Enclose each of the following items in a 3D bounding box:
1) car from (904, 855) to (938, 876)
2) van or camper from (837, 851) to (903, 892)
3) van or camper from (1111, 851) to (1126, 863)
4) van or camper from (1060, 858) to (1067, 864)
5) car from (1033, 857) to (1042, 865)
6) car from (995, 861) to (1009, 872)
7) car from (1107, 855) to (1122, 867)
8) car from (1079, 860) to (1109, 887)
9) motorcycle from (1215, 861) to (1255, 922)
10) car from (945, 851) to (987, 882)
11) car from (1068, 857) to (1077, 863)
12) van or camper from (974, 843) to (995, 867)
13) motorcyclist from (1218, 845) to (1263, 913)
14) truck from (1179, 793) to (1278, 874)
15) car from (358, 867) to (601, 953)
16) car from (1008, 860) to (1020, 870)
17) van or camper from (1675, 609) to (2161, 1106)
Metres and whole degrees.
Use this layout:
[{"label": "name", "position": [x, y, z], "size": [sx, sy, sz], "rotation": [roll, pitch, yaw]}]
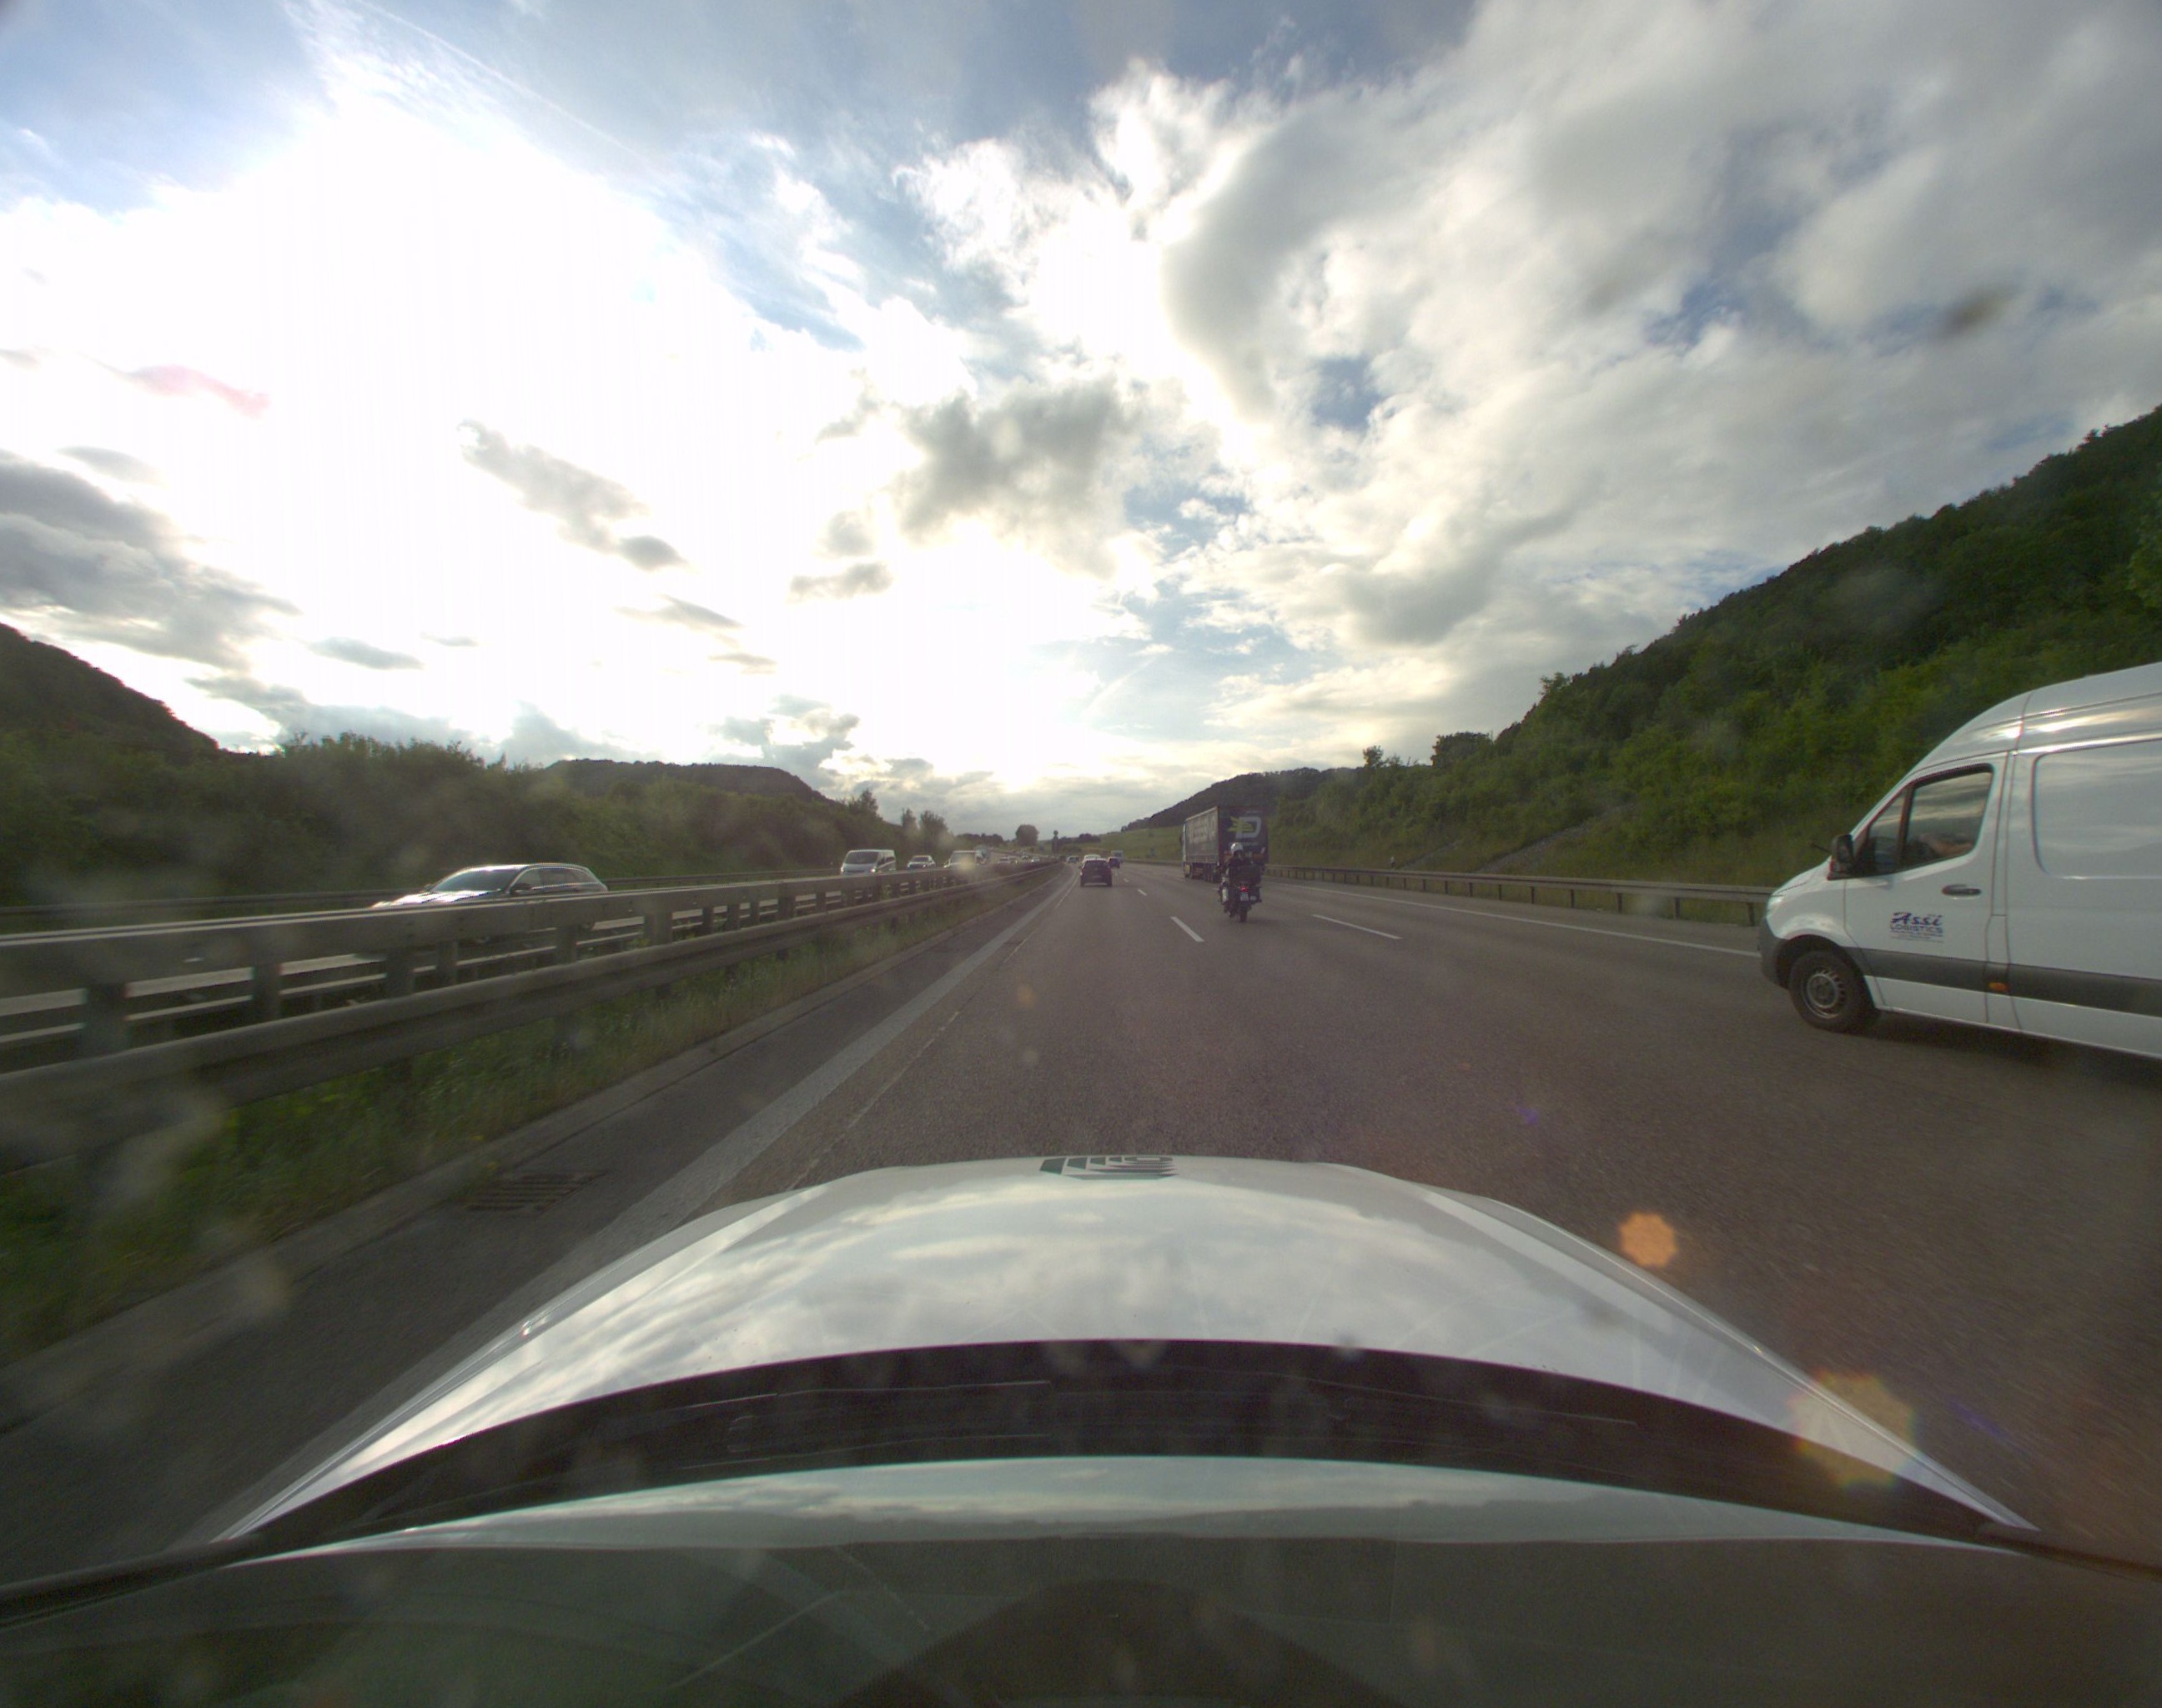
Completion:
[{"label": "car", "position": [-14.140, 0.971, 72.124], "size": [1.922, 1.722, 4.880], "rotation": [-1, 0, 1]}, {"label": "van or camper", "position": [-10.667, 0.828, 41.653], "size": [1.842, 1.940, 5.402], "rotation": [-1, 0, 1]}, {"label": "van or camper", "position": [7.148, 0.526, 155.875], "size": [2.539, 2.239, 5.330], "rotation": [-1, 0, 1]}, {"label": "van or camper", "position": [-4.769, 1.897, 221.620], "size": [1.961, 1.433, 3.996], "rotation": [0, 0, -2]}, {"label": "car", "position": [-8.914, 1.457, 167.111], "size": [1.638, 1.656, 4.343], "rotation": [-1, 0, -1]}, {"label": "car", "position": [-11.144, 1.752, 115.309], "size": [1.638, 1.436, 4.343], "rotation": [-1, 0, -1]}, {"label": "car", "position": [4.379, 0.902, 106.905], "size": [1.761, 1.433, 3.999], "rotation": [0, 0, -1]}, {"label": "car", "position": [0.712, 0.986, 43.381], "size": [1.532, 1.348, 3.678], "rotation": [-1, 0, 1]}, {"label": "motorcycle", "position": [3.523, 0.831, 18.739], "size": [0.625, 1.339, 1.740], "rotation": [0, -1, 2]}, {"label": "car", "position": [-7.334, 0.758, 52.355], "size": [1.922, 1.891, 4.346], "rotation": [-1, 0, 1]}, {"label": "car", "position": [-1.871, 1.308, 178.425], "size": [1.762, 1.433, 3.996], "rotation": [-1, 0, -2]}, {"label": "van or camper", "position": [-15.142, 0.131, 128.216], "size": [2.474, 3.551, 7.975], "rotation": [-1, 0, 0]}, {"label": "motorcyclist", "position": [3.622, 0.553, 18.529], "size": [0.873, 1.515, 0.798], "rotation": [0, -1, 1]}, {"label": "truck", "position": [8.455, -1.013, 49.695], "size": [2.954, 3.992, 17.732], "rotation": [-1, 0, 1]}, {"label": "car", "position": [-11.433, 0.985, 15.885], "size": [1.678, 1.396, 4.001], "rotation": [-1, 0, 1]}, {"label": "car", "position": [-11.998, 2.006, 145.946], "size": [1.638, 1.656, 4.343], "rotation": [-1, 0, -1]}, {"label": "van or camper", "position": [6.898, 0.006, 4.492], "size": [1.985, 2.717, 7.527], "rotation": [-1, 0, 3]}]
